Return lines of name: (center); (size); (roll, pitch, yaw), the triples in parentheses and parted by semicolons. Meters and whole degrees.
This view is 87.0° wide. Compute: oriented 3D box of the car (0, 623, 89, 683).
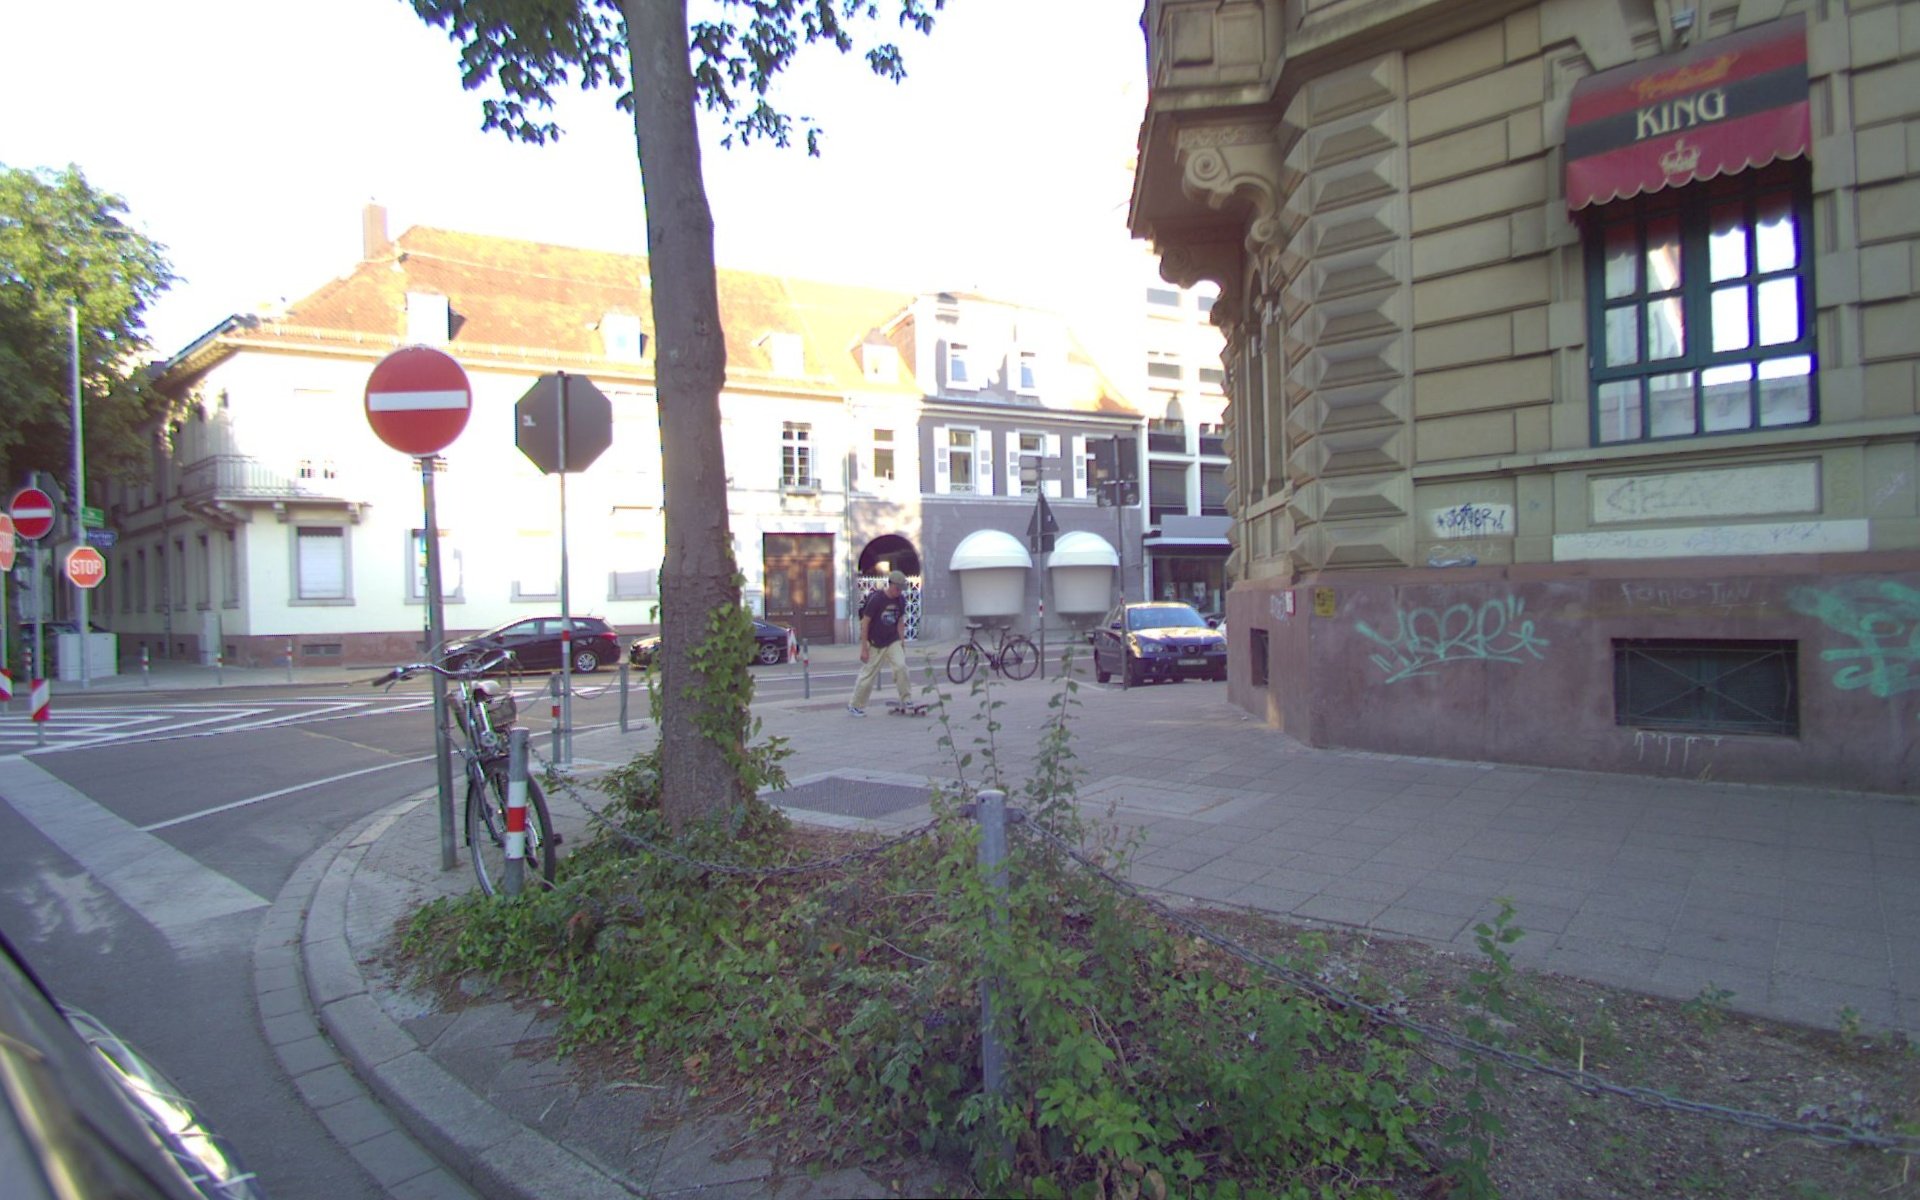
car: (-27.451, 1.531, 28.680); (1.721, 1.627, 3.948); (-2, -1, 39)

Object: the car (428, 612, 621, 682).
car: (-10.991, 1.156, 25.632); (4.354, 1.553, 1.813); (-1, -2, -26)

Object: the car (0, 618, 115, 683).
car: (-25.508, 1.358, 27.276); (1.827, 1.627, 3.948); (-2, -1, 39)

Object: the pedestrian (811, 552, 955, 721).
pedestrian: (-0.849, 0.410, 11.191); (1.262, 1.752, 0.842); (-4, -1, 30)

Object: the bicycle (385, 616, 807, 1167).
bicycle: (-1.501, 0.718, 3.682); (0.832, 1.277, 2.579); (0, -1, -34)

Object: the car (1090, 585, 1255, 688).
car: (3.412, 0.663, 16.975); (1.715, 1.472, 3.865); (-2, -4, -3)

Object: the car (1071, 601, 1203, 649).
car: (6.015, 0.826, 34.374); (4.176, 1.458, 1.754); (-1, -1, -27)

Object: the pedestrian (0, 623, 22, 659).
pedestrian: (-48.334, 2.060, 51.410); (1.020, 1.784, 0.883); (-2, -1, 40)

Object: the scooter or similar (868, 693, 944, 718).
scooter or similar: (-0.613, 1.178, 11.383); (0.411, 0.208, 0.884); (-2, -1, -38)

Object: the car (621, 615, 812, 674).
car: (-6.646, 1.179, 27.699); (4.773, 1.405, 1.784); (-1, -1, -25)

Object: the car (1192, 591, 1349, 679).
car: (6.095, 0.713, 20.474); (1.744, 1.523, 4.626); (-2, -2, 1)

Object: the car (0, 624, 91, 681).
car: (-29.018, 1.601, 30.592); (1.721, 1.627, 3.948); (-2, -1, 39)

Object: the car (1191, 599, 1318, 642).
car: (10.712, 0.725, 36.761); (4.423, 1.398, 1.753); (-1, -1, -28)

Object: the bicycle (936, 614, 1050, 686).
bicycle: (0.571, 0.863, 17.537); (1.773, 1.134, 0.730); (-2, -3, -18)
